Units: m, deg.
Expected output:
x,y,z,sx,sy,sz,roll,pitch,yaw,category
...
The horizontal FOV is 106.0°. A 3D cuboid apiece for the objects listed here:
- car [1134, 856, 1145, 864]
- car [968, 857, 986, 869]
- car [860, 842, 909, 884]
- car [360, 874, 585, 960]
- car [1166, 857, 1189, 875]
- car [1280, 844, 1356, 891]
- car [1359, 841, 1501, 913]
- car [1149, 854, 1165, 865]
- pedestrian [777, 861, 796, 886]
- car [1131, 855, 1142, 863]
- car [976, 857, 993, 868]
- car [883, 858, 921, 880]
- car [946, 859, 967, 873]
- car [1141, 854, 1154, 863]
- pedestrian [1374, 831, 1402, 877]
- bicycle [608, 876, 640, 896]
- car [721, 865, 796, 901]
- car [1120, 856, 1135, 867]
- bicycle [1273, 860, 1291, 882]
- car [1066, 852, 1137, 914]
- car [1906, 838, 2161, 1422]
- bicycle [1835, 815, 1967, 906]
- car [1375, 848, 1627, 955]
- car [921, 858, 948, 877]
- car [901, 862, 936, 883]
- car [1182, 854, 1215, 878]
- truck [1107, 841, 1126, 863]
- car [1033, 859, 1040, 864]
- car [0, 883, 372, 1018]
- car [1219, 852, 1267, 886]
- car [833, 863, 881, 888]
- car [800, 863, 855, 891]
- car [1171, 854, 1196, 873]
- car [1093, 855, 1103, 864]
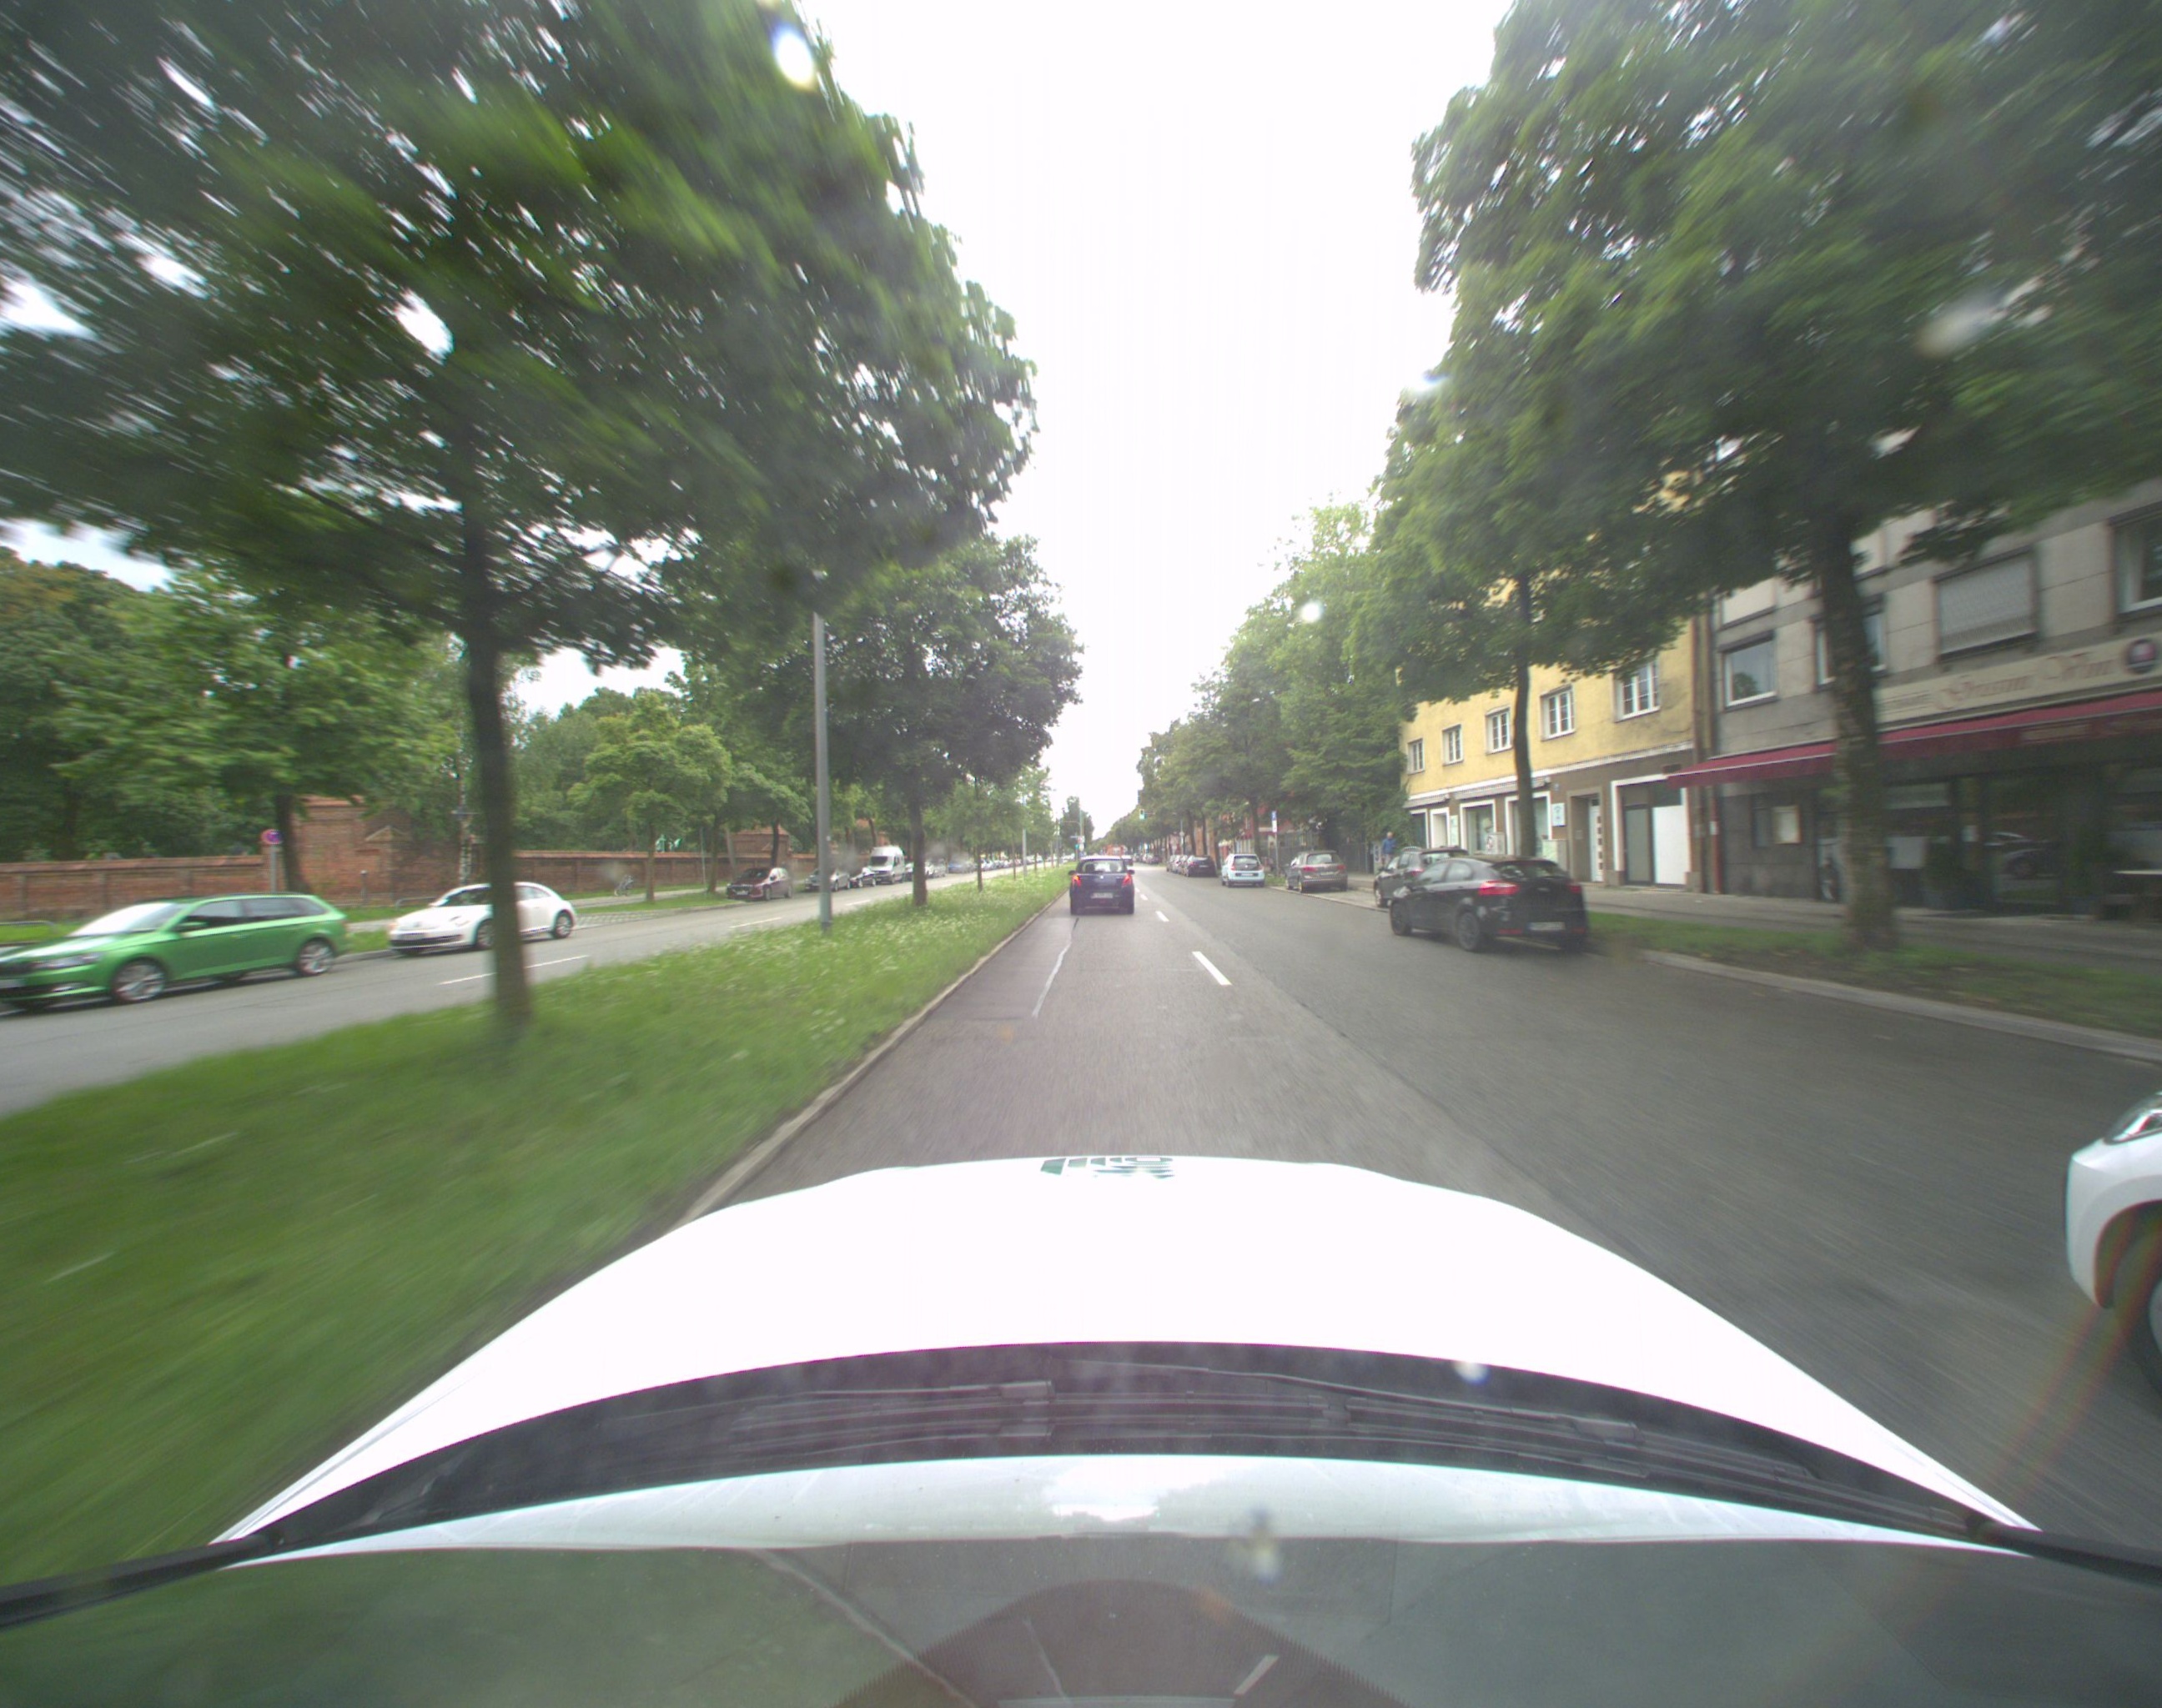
x,y,z,sx,sy,sz,roll,pitch,yaw,category
11.564,1.152,161.841,1.986,1.530,4.001,-2,0,1,car
-13.990,1.253,109.554,1.795,1.534,4.001,-2,0,1,car
-14.583,0.674,60.786,2.179,2.954,6.189,-1,0,-1,car
-13.744,1.344,18.786,1.755,1.537,4.316,-4,0,1,car
8.265,0.979,70.193,1.688,1.452,4.126,-2,0,3,car
9.129,0.501,31.735,1.808,1.626,4.310,-3,0,3,car
9.024,0.546,21.492,1.986,1.643,4.335,-1,0,2,car
11.268,0.769,120.740,1.986,1.530,4.001,-2,0,1,car
-18.754,1.226,51.912,0.766,1.567,0.800,-2,0,37,pedestrian
11.319,1.006,166.664,1.986,1.530,4.001,0,0,1,car
-13.432,1.153,113.785,1.795,1.534,4.001,-2,0,1,car
-14.816,1.234,67.733,2.179,1.736,4.576,-1,0,-1,car
-14.118,1.319,92.576,1.700,1.534,4.001,-2,0,1,car
12.179,0.766,149.456,1.986,1.530,4.001,-2,0,1,car
12.854,-0.008,34.116,0.790,1.855,0.776,-3,0,-1,pedestrian
-22.493,1.561,40.136,0.653,0.936,1.619,-1,0,-1,bicycle
-15.218,1.347,38.689,1.807,1.536,4.298,-1,0,1,car
6.316,1.062,111.461,1.815,1.477,4.692,1,0,1,car
9.390,0.772,38.101,0.446,0.980,1.799,-1,0,1,bicycle
0.606,0.732,22.429,1.746,1.505,4.002,-1,0,2,car
3.585,0.703,1.010,1.681,1.490,3.435,0,0,0,car
14.116,0.113,14.085,0.578,1.463,1.689,-2,0,2,bicycle
6.630,0.666,13.438,1.988,1.452,3.997,-1,0,-2,car
-14.130,1.314,78.628,1.700,1.734,4.001,-2,0,1,car
-14.409,1.644,72.424,2.179,1.736,4.576,-1,0,-1,car
7.777,0.770,54.257,1.647,1.452,4.712,-2,0,3,car
6.292,-0.341,144.669,3.029,3.557,13.682,-1,0,2,truck
-13.108,2.175,240.606,1.795,1.534,4.001,-2,0,1,car
-13.911,1.355,12.772,1.632,1.537,4.316,-4,0,1,car
7.489,0.661,37.907,1.646,1.452,4.005,-2,0,4,car
-14.836,1.382,54.255,1.807,1.536,4.820,-1,0,1,car
-14.977,1.337,48.401,1.807,1.536,4.441,-1,0,1,car
8.117,0.739,64.819,1.688,1.452,4.126,-2,0,3,car
3.006,0.944,143.958,1.712,1.500,4.302,-1,0,1,car
